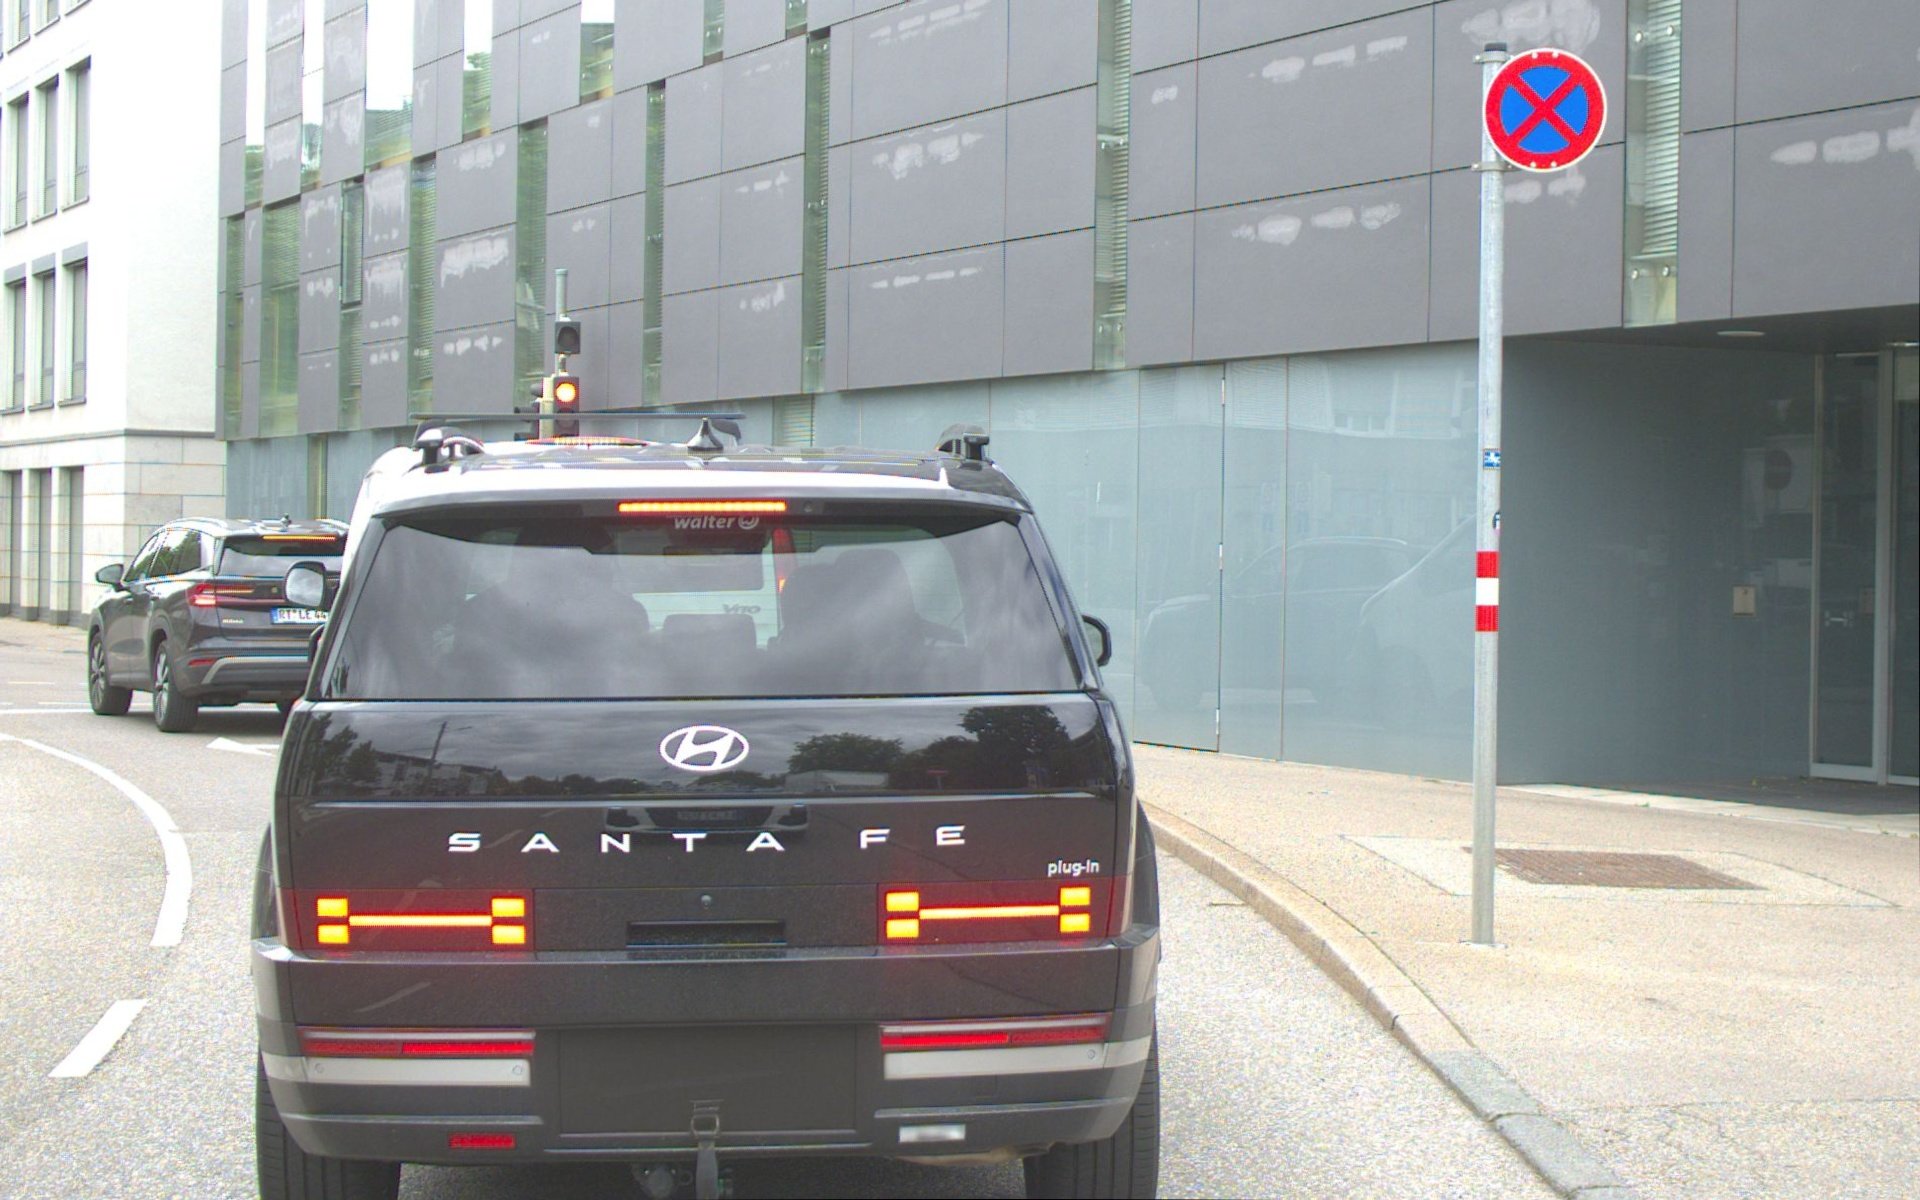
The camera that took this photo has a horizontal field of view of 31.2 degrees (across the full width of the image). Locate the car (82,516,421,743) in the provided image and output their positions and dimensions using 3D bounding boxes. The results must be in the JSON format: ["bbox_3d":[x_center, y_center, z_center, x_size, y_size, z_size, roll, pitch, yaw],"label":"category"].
[{"bbox_3d":[-5.787,0.187,27.690,1.847,1.671,4.376,-1,1,-23],"label":"car"}]

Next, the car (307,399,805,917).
[{"bbox_3d":[-2.001,0.180,15.795,1.855,2.026,4.439,1,1,-12],"label":"car"}]

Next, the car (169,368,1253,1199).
[{"bbox_3d":[-0.587,0.440,8.378,1.915,1.719,4.171,3,1,-4],"label":"car"}]
